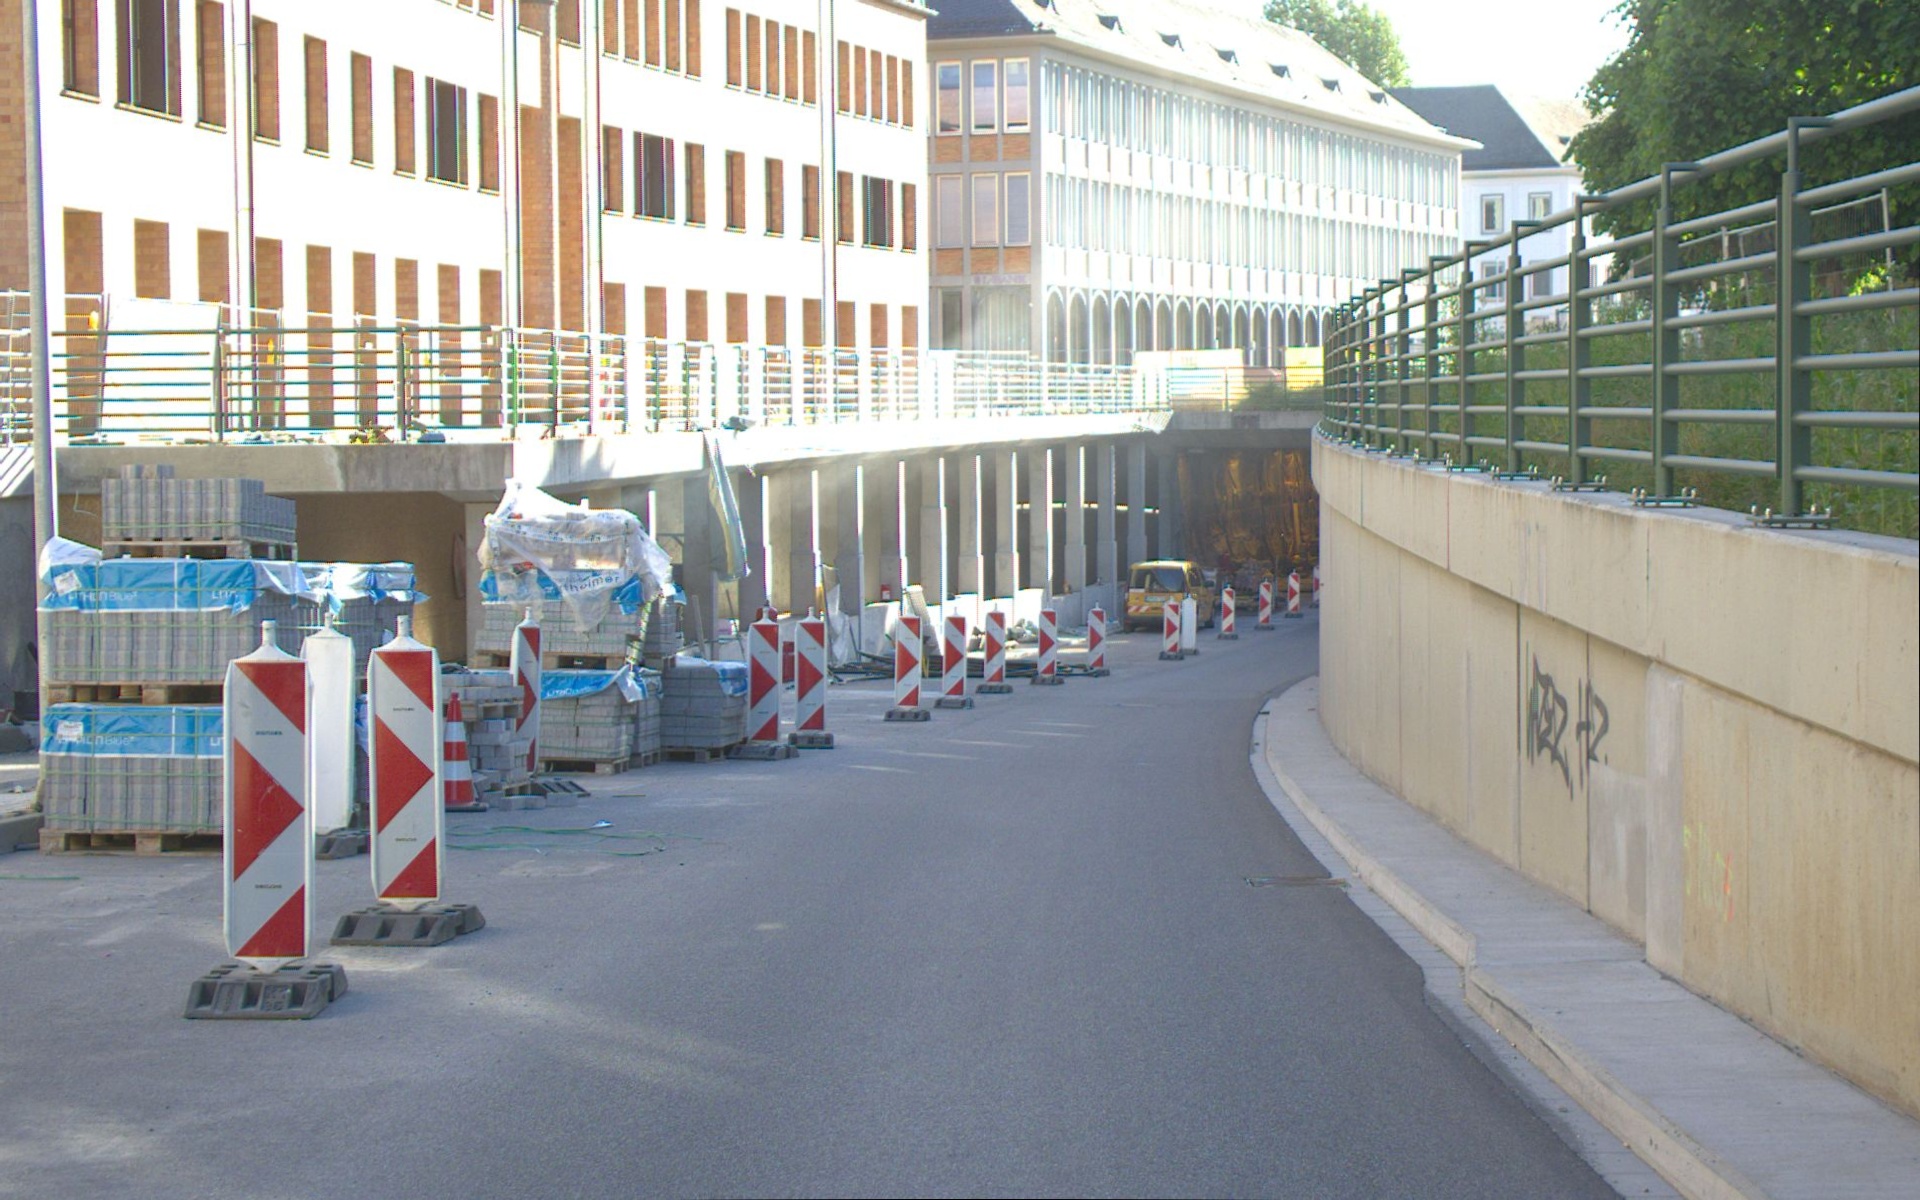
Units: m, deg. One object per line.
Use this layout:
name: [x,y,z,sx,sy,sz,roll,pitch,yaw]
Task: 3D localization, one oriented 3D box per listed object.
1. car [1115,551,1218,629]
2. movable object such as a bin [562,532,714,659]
car: [5.242,-0.276,86.728,1.849,1.769,4.432,1,3,13]
movable object such as a bin: [-5.206,-0.091,55.883,1.886,1.980,3.158,1,1,6]
